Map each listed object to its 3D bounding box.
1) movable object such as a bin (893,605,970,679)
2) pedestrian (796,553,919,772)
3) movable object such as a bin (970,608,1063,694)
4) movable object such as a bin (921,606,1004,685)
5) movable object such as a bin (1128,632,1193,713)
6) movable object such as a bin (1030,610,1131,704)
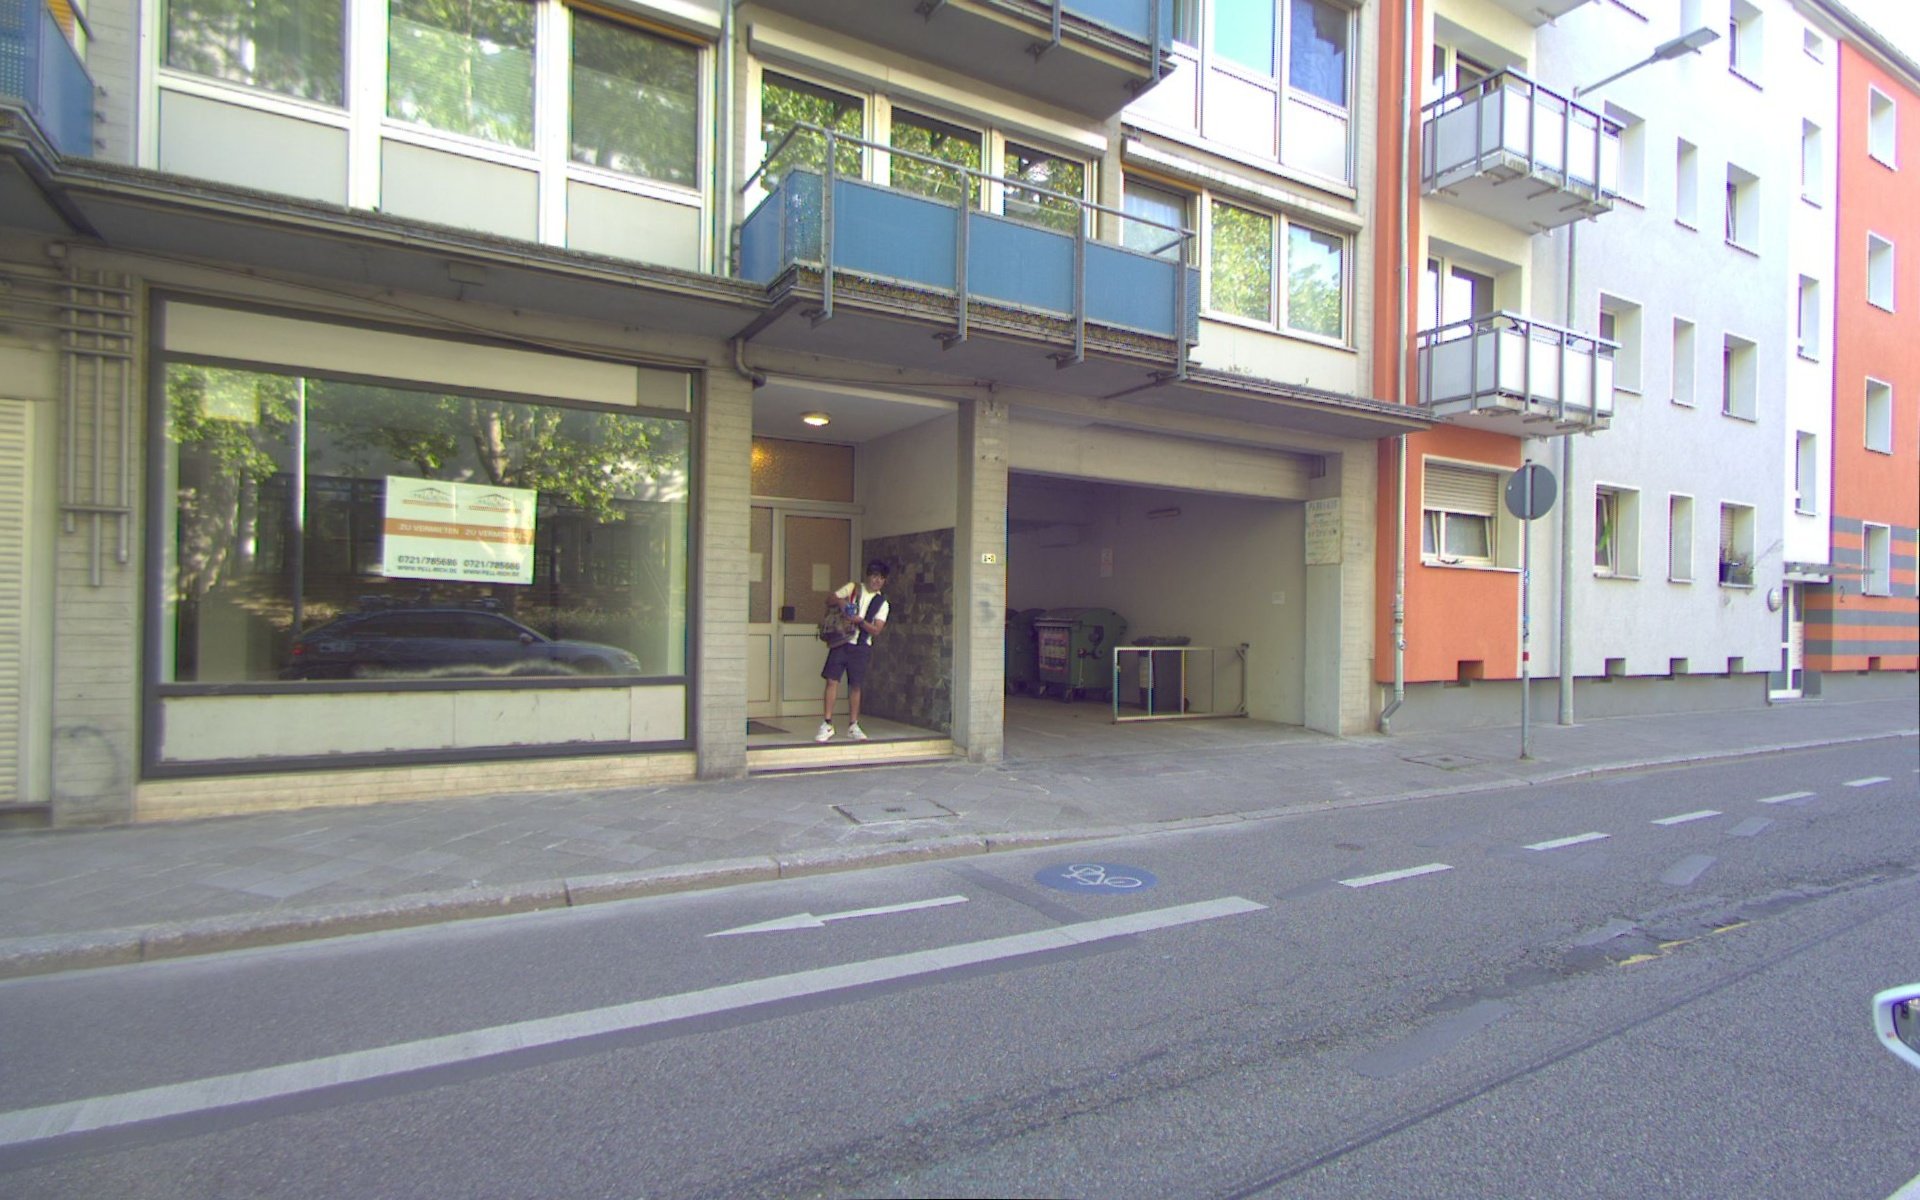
[{"bbox_3d":[-0.575,0.813,19.860,1.066,1.384,1.255,2,0,-27],"label":"movable object such as a bin"},{"bbox_3d":[-0.951,0.553,9.250,0.882,1.902,0.703,2,0,-28],"label":"pedestrian"},{"bbox_3d":[0.944,0.846,17.122,1.066,1.384,1.255,2,0,-27],"label":"movable object such as a bin"},{"bbox_3d":[0.034,0.826,18.691,1.066,1.384,1.255,2,0,-27],"label":"movable object such as a bin"},{"bbox_3d":[2.887,1.027,14.457,0.650,1.115,0.626,2,0,-27],"label":"movable object such as a bin"},{"bbox_3d":[1.886,0.868,15.808,1.066,1.384,1.192,2,0,-27],"label":"movable object such as a bin"}]
